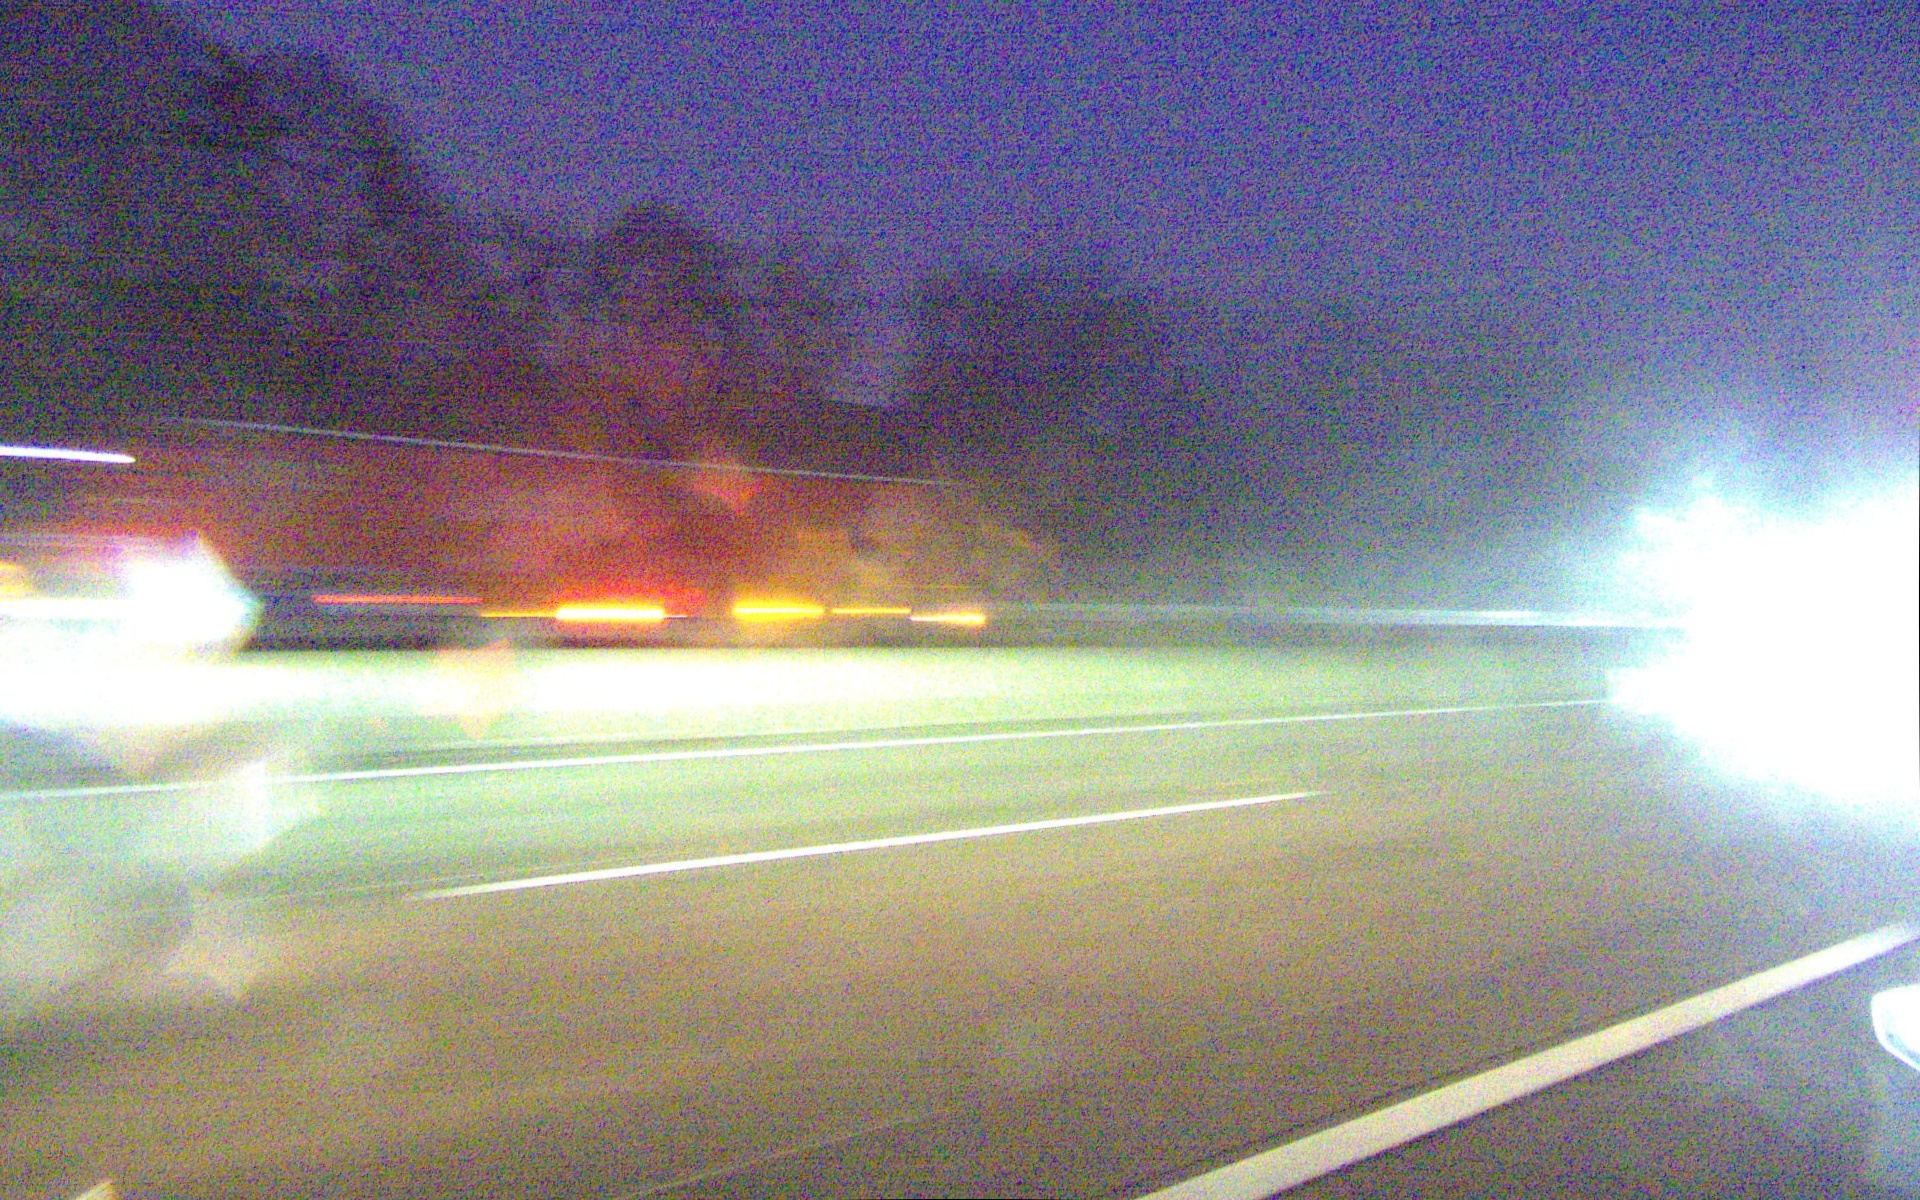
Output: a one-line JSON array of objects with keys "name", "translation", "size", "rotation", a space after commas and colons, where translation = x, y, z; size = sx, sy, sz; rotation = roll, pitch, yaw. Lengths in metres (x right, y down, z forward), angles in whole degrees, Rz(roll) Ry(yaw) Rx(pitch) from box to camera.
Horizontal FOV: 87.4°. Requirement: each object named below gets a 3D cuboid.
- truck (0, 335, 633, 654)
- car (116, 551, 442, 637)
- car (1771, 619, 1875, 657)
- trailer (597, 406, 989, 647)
[{"name": "truck", "translation": [-12.638, -1.824, 20.863], "size": [10.353, 5.211, 4.316], "rotation": [1, 5, -31]}, {"name": "car", "translation": [-10.947, -0.079, 16.515], "size": [4.223, 1.237, 1.698], "rotation": [1, 2, -31]}, {"name": "car", "translation": [39.224, 1.711, 45.625], "size": [5.308, 1.484, 1.961], "rotation": [1, 2, -31]}, {"name": "trailer", "translation": [-4.269, -1.688, 25.938], "size": [8.893, 5.211, 4.316], "rotation": [1, 5, -31]}]
